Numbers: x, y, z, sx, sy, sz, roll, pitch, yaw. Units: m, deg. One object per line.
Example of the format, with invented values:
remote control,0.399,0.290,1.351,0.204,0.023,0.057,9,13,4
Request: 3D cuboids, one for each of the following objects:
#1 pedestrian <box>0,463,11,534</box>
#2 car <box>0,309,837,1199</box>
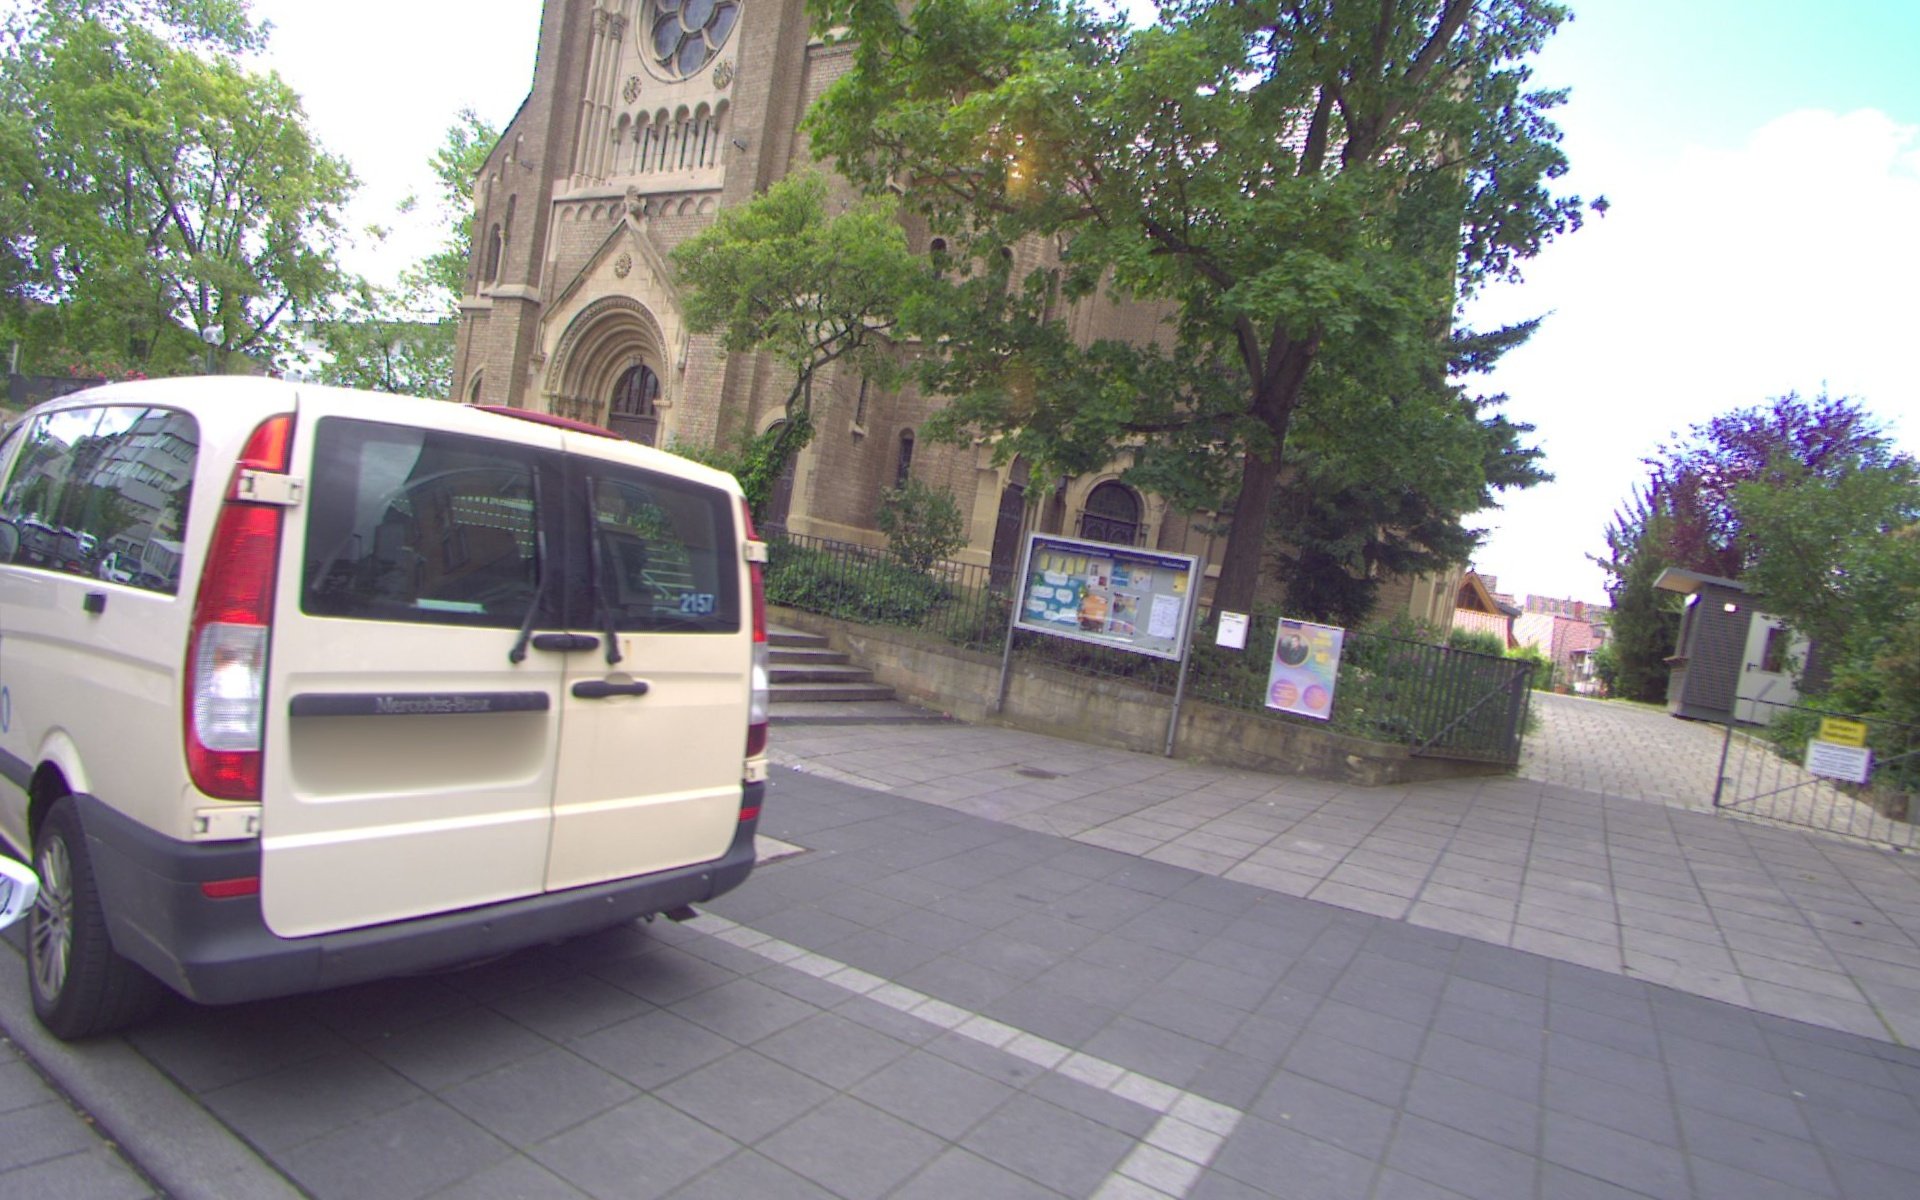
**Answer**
pedestrian,-23.095,-2.455,24.049,0.500,1.667,0.471,8,2,44
car,-3.048,0.166,4.326,4.954,1.871,1.884,7,1,37
